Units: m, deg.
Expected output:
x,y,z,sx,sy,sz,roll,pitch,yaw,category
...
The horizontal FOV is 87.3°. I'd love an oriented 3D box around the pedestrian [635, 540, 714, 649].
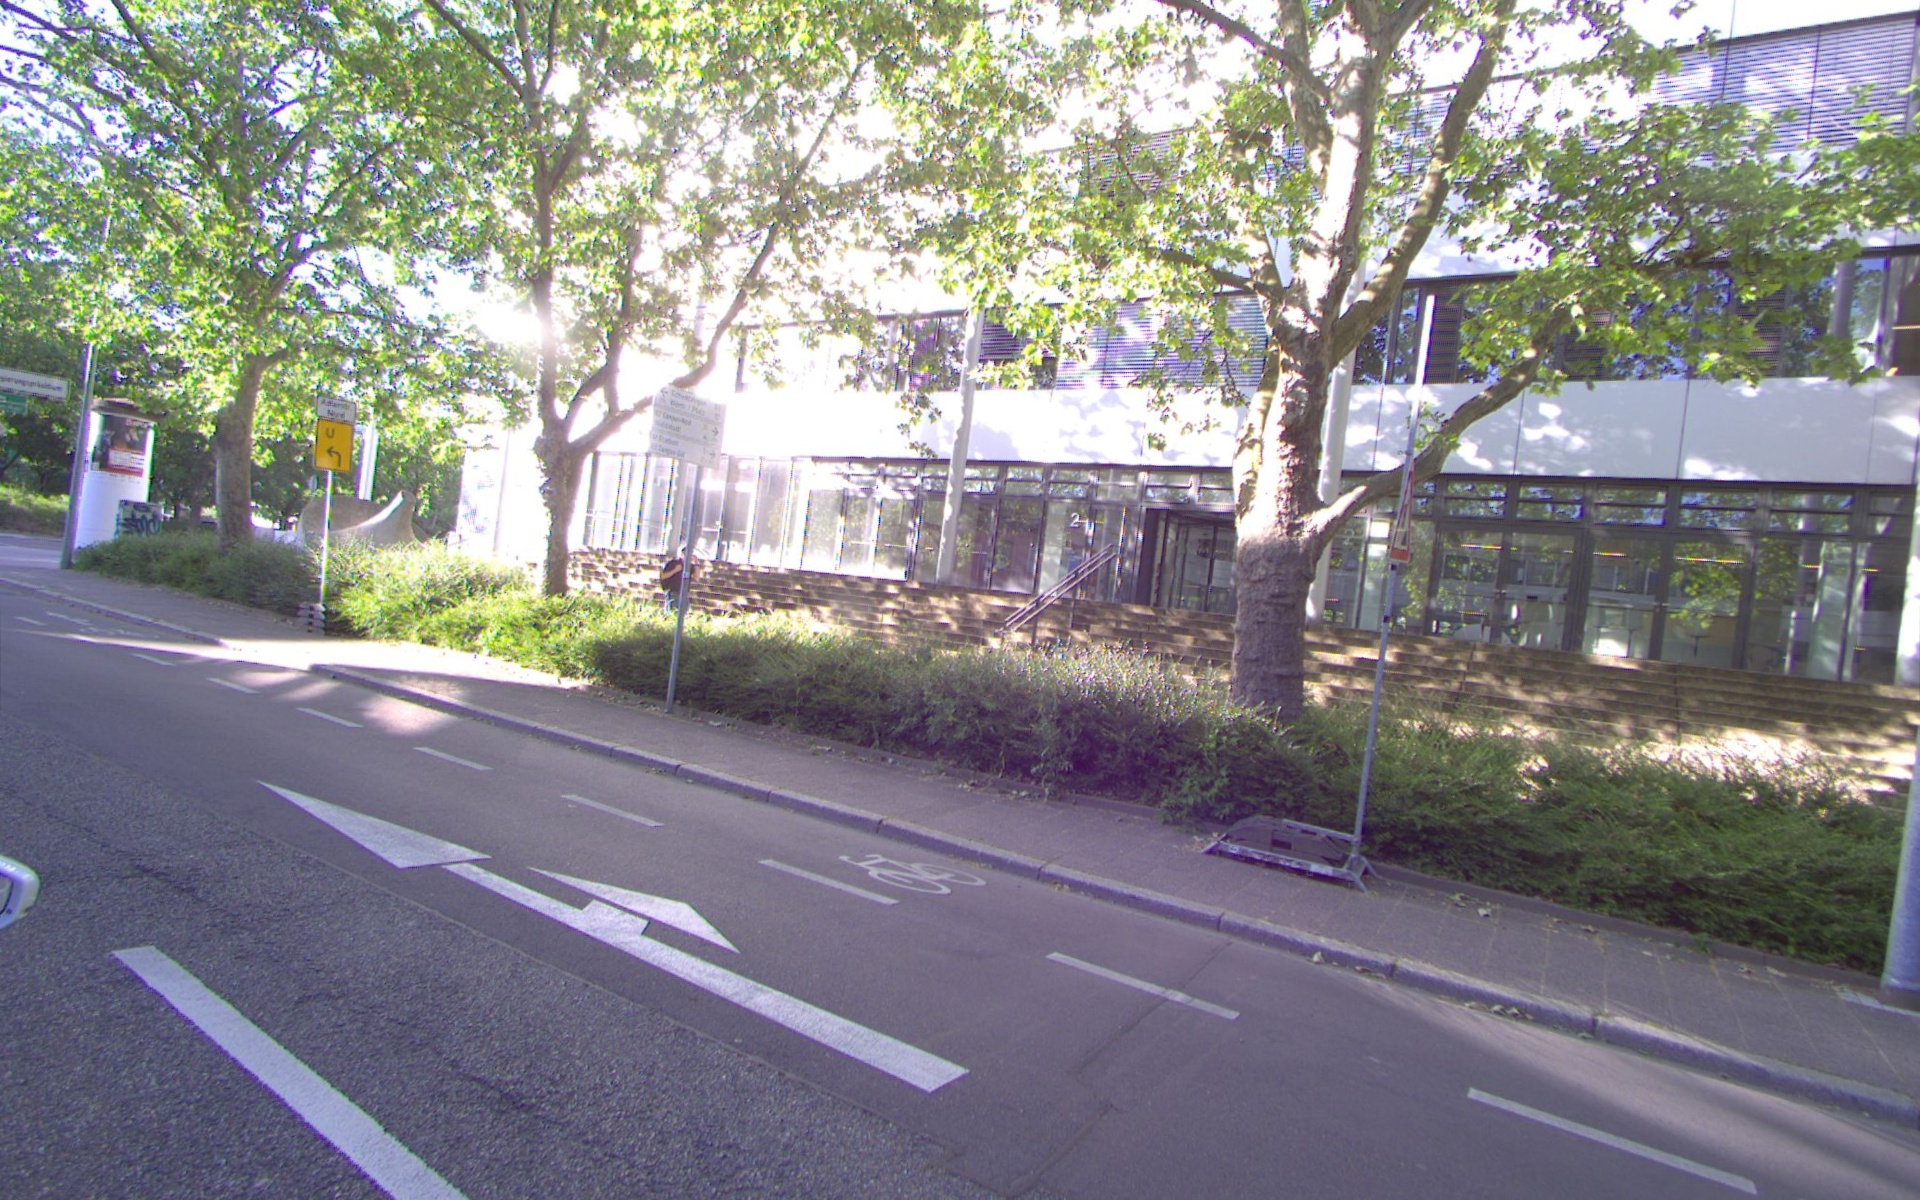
x,y,z,sx,sy,sz,roll,pitch,yaw,category
-5.091,-0.090,17.959,0.848,1.802,0.785,7,0,30,pedestrian
